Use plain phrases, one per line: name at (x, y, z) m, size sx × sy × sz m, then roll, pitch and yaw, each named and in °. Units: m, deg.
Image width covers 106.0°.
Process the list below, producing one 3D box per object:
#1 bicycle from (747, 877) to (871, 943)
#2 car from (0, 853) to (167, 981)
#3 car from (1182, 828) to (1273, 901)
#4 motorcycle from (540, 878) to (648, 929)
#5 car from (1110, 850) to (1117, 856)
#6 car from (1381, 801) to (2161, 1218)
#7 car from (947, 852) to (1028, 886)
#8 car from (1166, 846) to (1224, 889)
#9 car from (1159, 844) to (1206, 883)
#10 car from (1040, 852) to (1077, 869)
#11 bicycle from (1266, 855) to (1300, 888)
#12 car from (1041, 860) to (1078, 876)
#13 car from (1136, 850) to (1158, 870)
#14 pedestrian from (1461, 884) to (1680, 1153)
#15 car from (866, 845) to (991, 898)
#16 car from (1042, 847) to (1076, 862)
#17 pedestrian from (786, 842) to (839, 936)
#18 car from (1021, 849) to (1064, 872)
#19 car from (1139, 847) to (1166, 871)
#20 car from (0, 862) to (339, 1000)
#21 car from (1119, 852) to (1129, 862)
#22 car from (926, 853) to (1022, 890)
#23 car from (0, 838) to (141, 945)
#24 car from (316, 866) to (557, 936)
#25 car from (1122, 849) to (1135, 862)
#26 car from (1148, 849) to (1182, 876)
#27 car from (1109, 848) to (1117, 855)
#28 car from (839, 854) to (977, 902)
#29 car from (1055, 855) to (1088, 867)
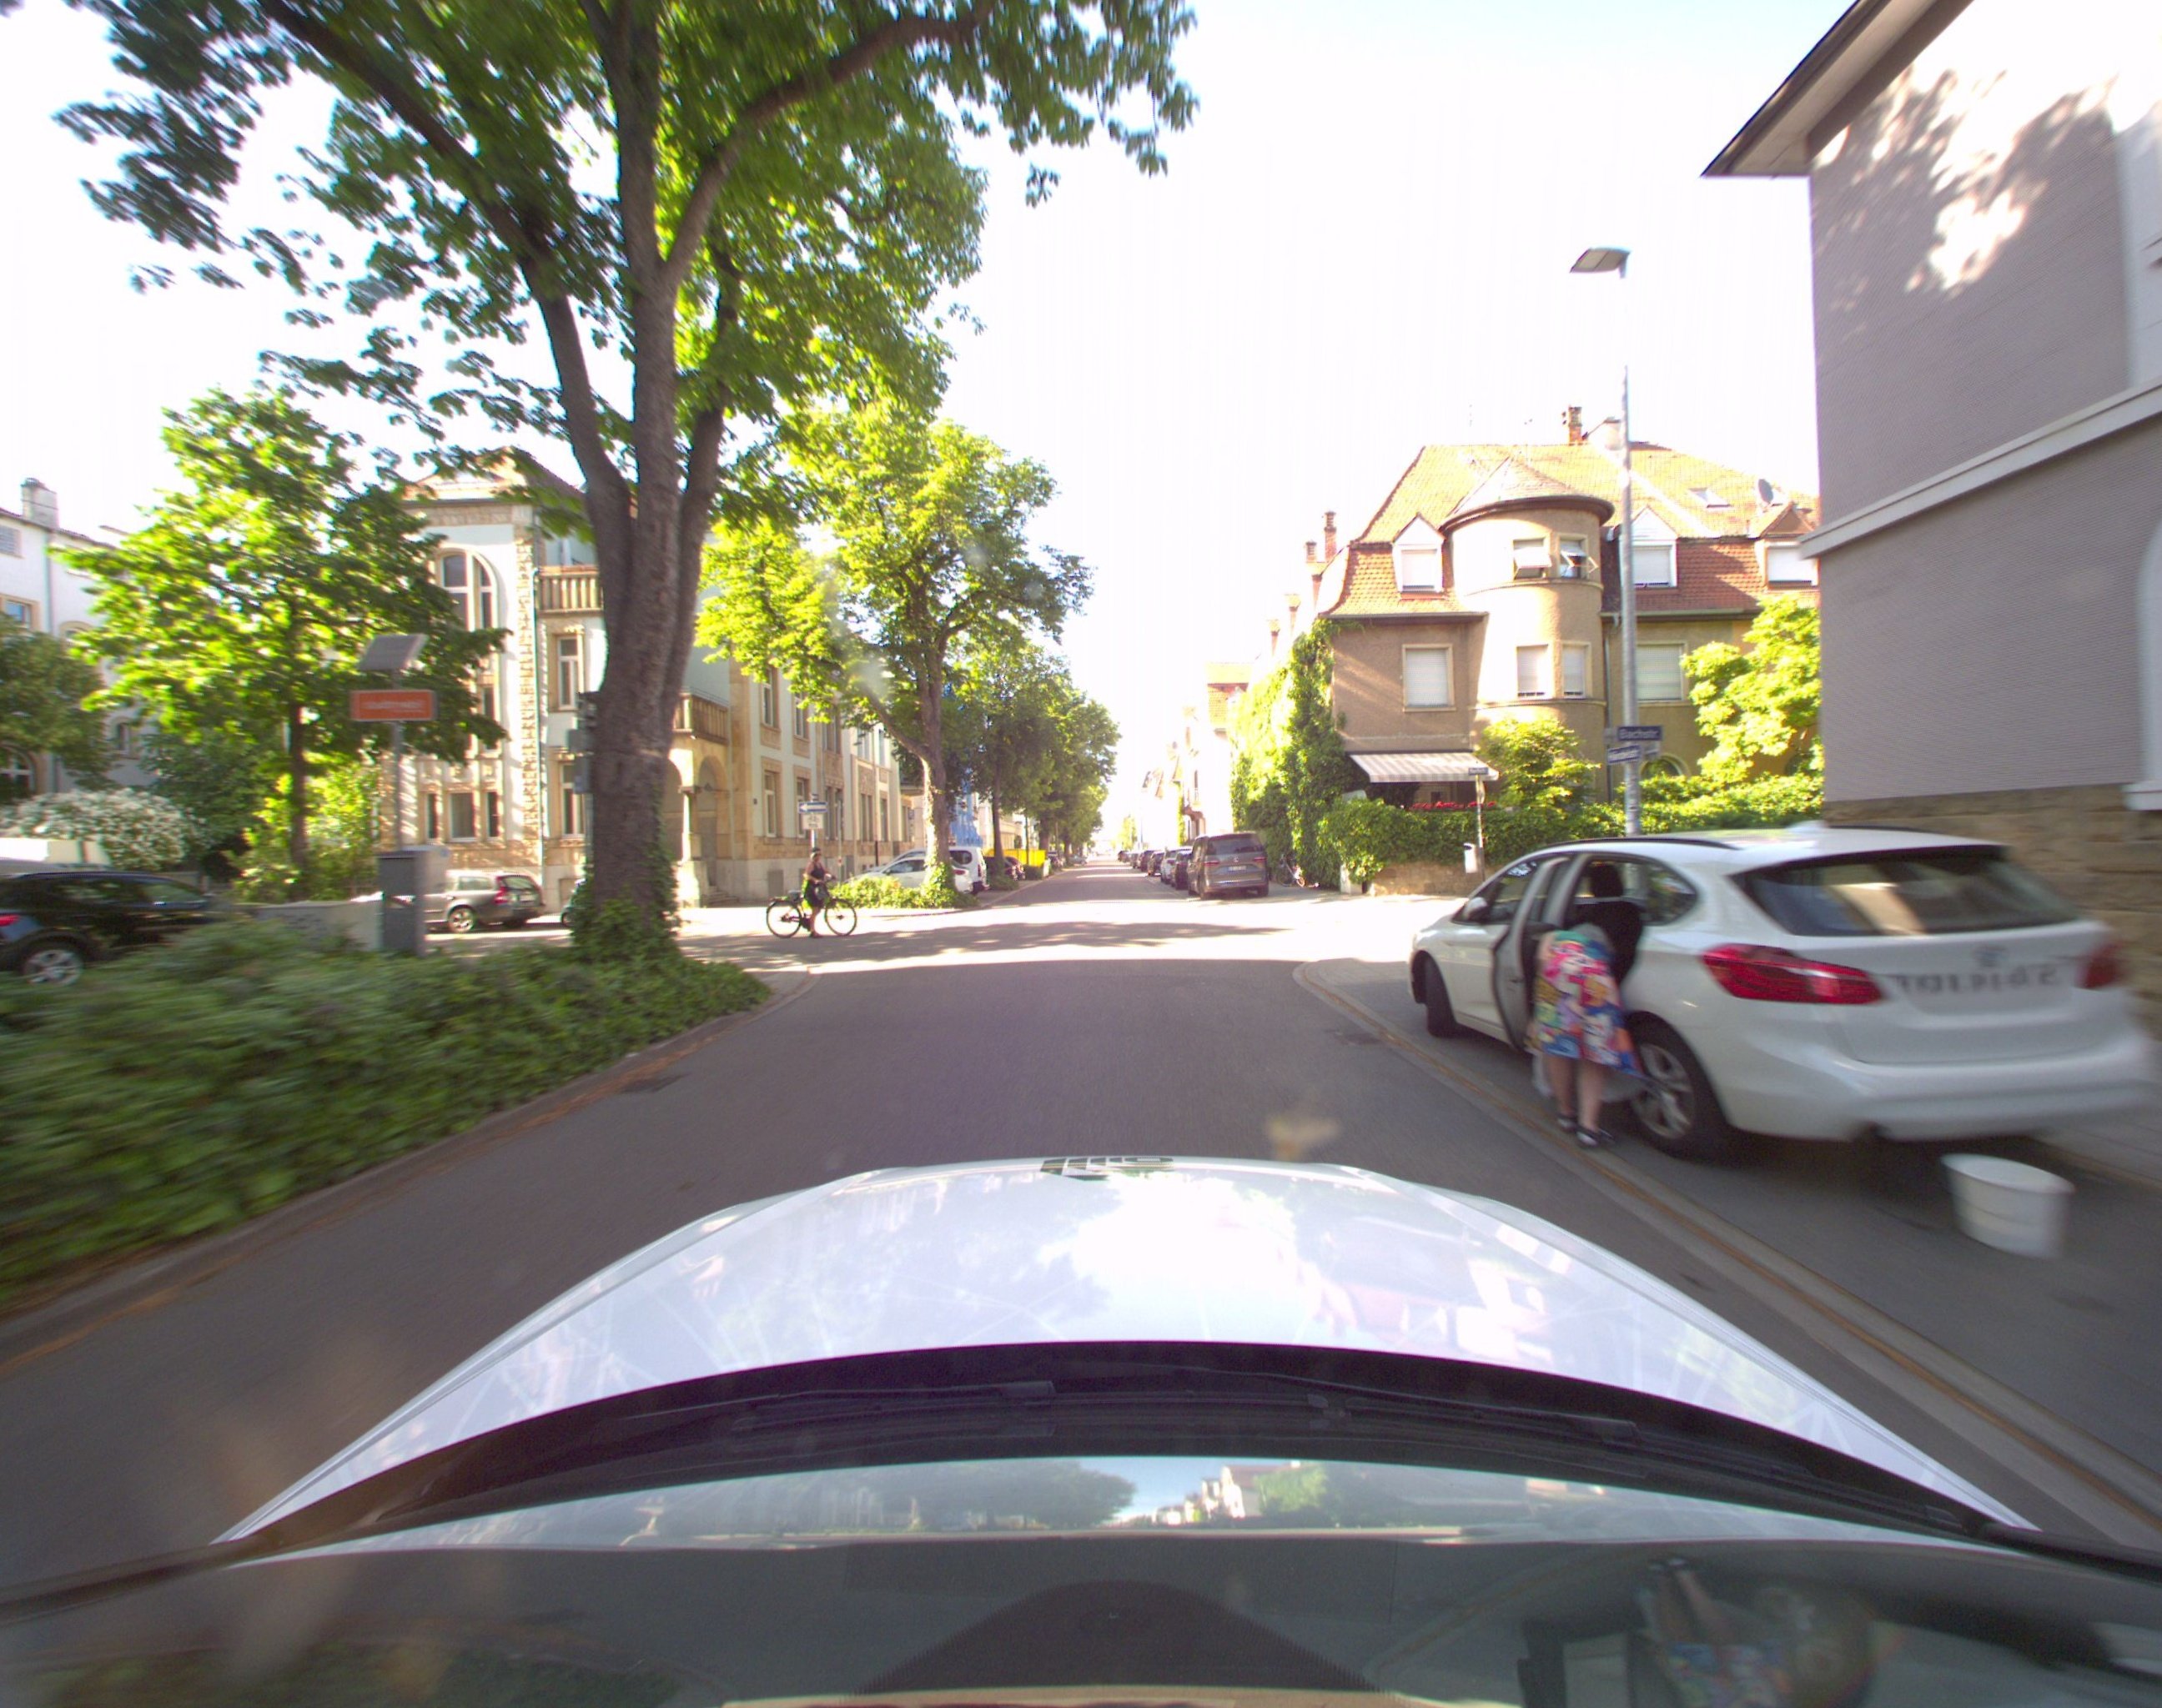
bicycle at (-5.077, 1.041, 15.275) m, size 1.981 × 1.066 × 0.761 m, roll -3°, pitch 1°, yaw 5°
car at (-17.143, 0.976, 12.309) m, size 1.985 × 1.899 × 4.003 m, roll -2°, pitch 0°, yaw 3°
car at (4.288, 0.273, 24.598) m, size 1.897 × 1.870 × 4.675 m, roll -5°, pitch 0°, yaw 1°
motorcycle at (-11.901, 1.204, 19.932) m, size 2.198 × 1.176 × 0.901 m, roll -2°, pitch -2°, yaw 10°
car at (8.441, -0.209, 213.384) m, size 1.764 × 1.631 × 3.869 m, roll -2°, pitch 0°, yaw 3°
car at (3.622, 0.611, 5.327) m, size 1.694 × 1.539 × 4.154 m, roll -4°, pitch 0°, yaw 0°
car at (-4.760, 0.753, 41.791) m, size 3.983 × 1.552 × 1.833 m, roll -2°, pitch 0°, yaw -7°
car at (4.330, 0.481, 31.392) m, size 1.684 × 1.398 × 3.807 m, roll -5°, pitch 0°, yaw 1°
car at (4.569, 0.397, 36.966) m, size 1.782 × 1.618 × 3.869 m, roll -2°, pitch 0°, yaw 3°
car at (-2.474, 0.697, 90.132) m, size 3.989 × 1.734 × 1.896 m, roll 0°, pitch 1°, yaw 3°
bicycle at (6.663, 0.547, 26.993) m, size 0.586 × 1.023 × 2.371 m, roll -2°, pitch 0°, yaw 2°
car at (-2.459, 1.591, 92.722) m, size 3.989 × 1.734 × 1.896 m, roll 0°, pitch 1°, yaw 3°
car at (5.823, 0.475, 71.698) m, size 1.764 × 1.631 × 3.869 m, roll -2°, pitch 0°, yaw 3°
pedestrian at (2.582, 0.820, 4.356) m, size 0.722 × 1.257 × 0.645 m, roll -3°, pitch 0°, yaw -6°
car at (-5.168, 0.597, 27.972) m, size 3.977 × 1.761 × 1.796 m, roll 0°, pitch -1°, yaw -3°
car at (-2.688, 0.054, 99.310) m, size 3.989 × 1.841 × 2.002 m, roll 0°, pitch 1°, yaw 3°
pedestrian at (-5.015, 0.642, 15.252) m, size 0.627 × 1.694 × 0.653 m, roll -3°, pitch 0°, yaw 5°
car at (-3.740, 0.631, 78.789) m, size 3.983 × 2.013 × 1.995 m, roll -2°, pitch 0°, yaw -7°
car at (5.164, 0.368, 59.061) m, size 1.764 × 1.631 × 3.869 m, roll -2°, pitch 0°, yaw 3°
car at (-14.165, 1.002, 12.215) m, size 1.985 × 1.639 × 4.253 m, roll -2°, pitch 0°, yaw 3°
car at (7.473, 0.438, 142.314) m, size 1.764 × 1.631 × 3.869 m, roll -2°, pitch 0°, yaw 3°
car at (-4.783, 0.783, 36.910) m, size 3.970 × 1.469 × 1.865 m, roll -2°, pitch 1°, yaw 3°
car at (-26.691, 0.947, 20.223) m, size 4.394 × 2.498 × 1.801 m, roll -2°, pitch 0°, yaw -2°
car at (-15.515, 1.113, 19.756) m, size 4.389 × 1.465 × 1.803 m, roll -2°, pitch 0°, yaw 2°
car at (6.609, 0.187, 113.815) m, size 1.764 × 1.631 × 3.869 m, roll -2°, pitch 0°, yaw 3°
car at (4.941, 0.490, 48.252) m, size 1.764 × 1.455 × 3.869 m, roll -2°, pitch 0°, yaw 3°
car at (8.052, -0.609, 205.436) m, size 1.764 × 1.631 × 3.869 m, roll -2°, pitch 0°, yaw 3°
car at (-5.387, 0.751, 25.776) m, size 3.977 × 1.464 × 1.796 m, roll 0°, pitch -1°, yaw -3°
car at (-1.214, 0.935, 104.643) m, size 3.970 × 1.409 × 1.703 m, roll -2°, pitch 0°, yaw 3°
